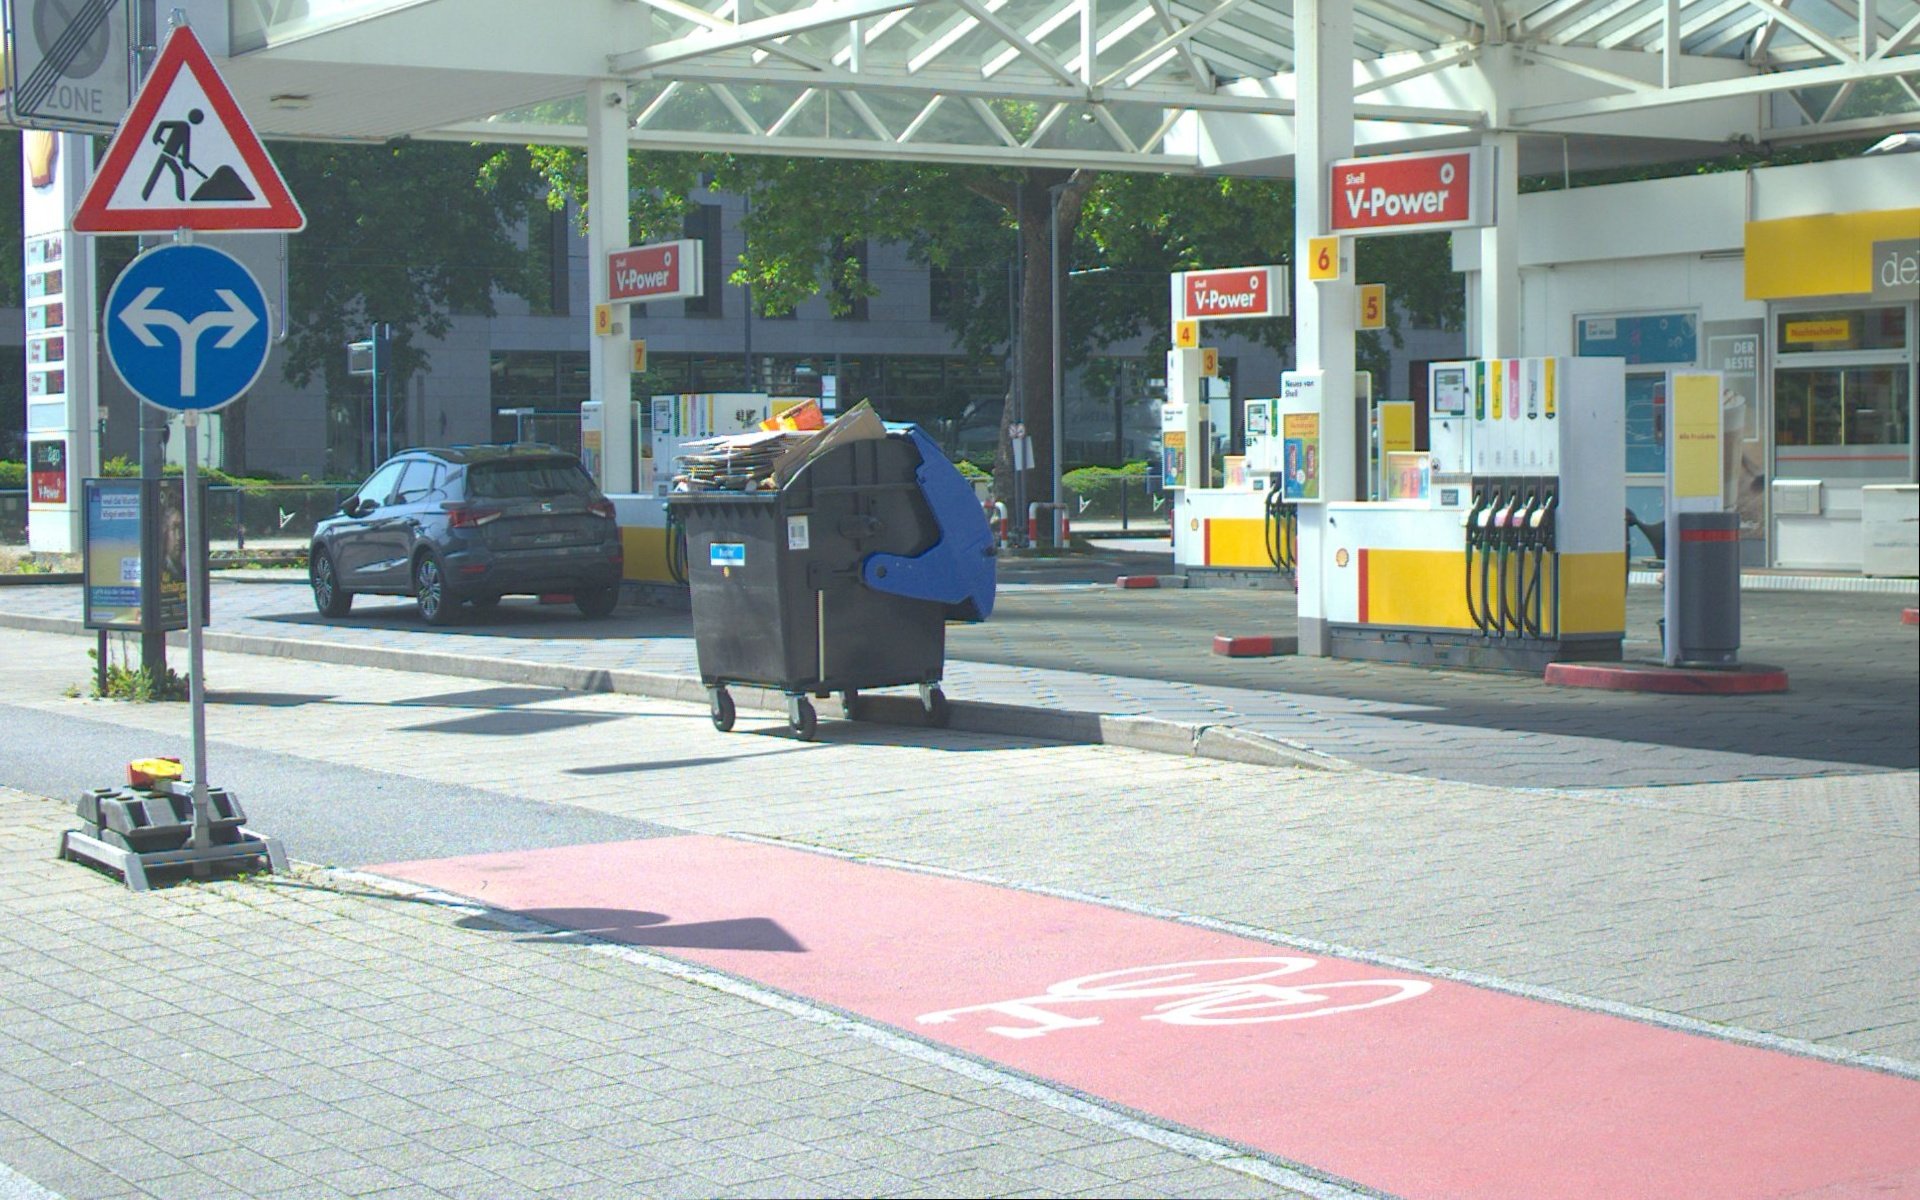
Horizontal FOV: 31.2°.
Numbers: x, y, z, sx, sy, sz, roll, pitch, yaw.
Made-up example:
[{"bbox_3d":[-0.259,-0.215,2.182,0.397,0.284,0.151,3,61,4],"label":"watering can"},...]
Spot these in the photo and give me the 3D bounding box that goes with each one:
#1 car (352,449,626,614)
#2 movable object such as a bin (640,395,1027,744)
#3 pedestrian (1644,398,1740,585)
[{"bbox_3d":[-4.307,-0.643,31.054,1.649,1.393,3.643,-1,2,-21],"label":"car"},{"bbox_3d":[-0.635,-0.182,17.046,1.308,1.586,1.396,-5,4,-34],"label":"movable object such as a bin"},{"bbox_3d":[7.193,-1.067,33.791,0.673,1.815,0.631,-1,2,-25],"label":"pedestrian"}]
